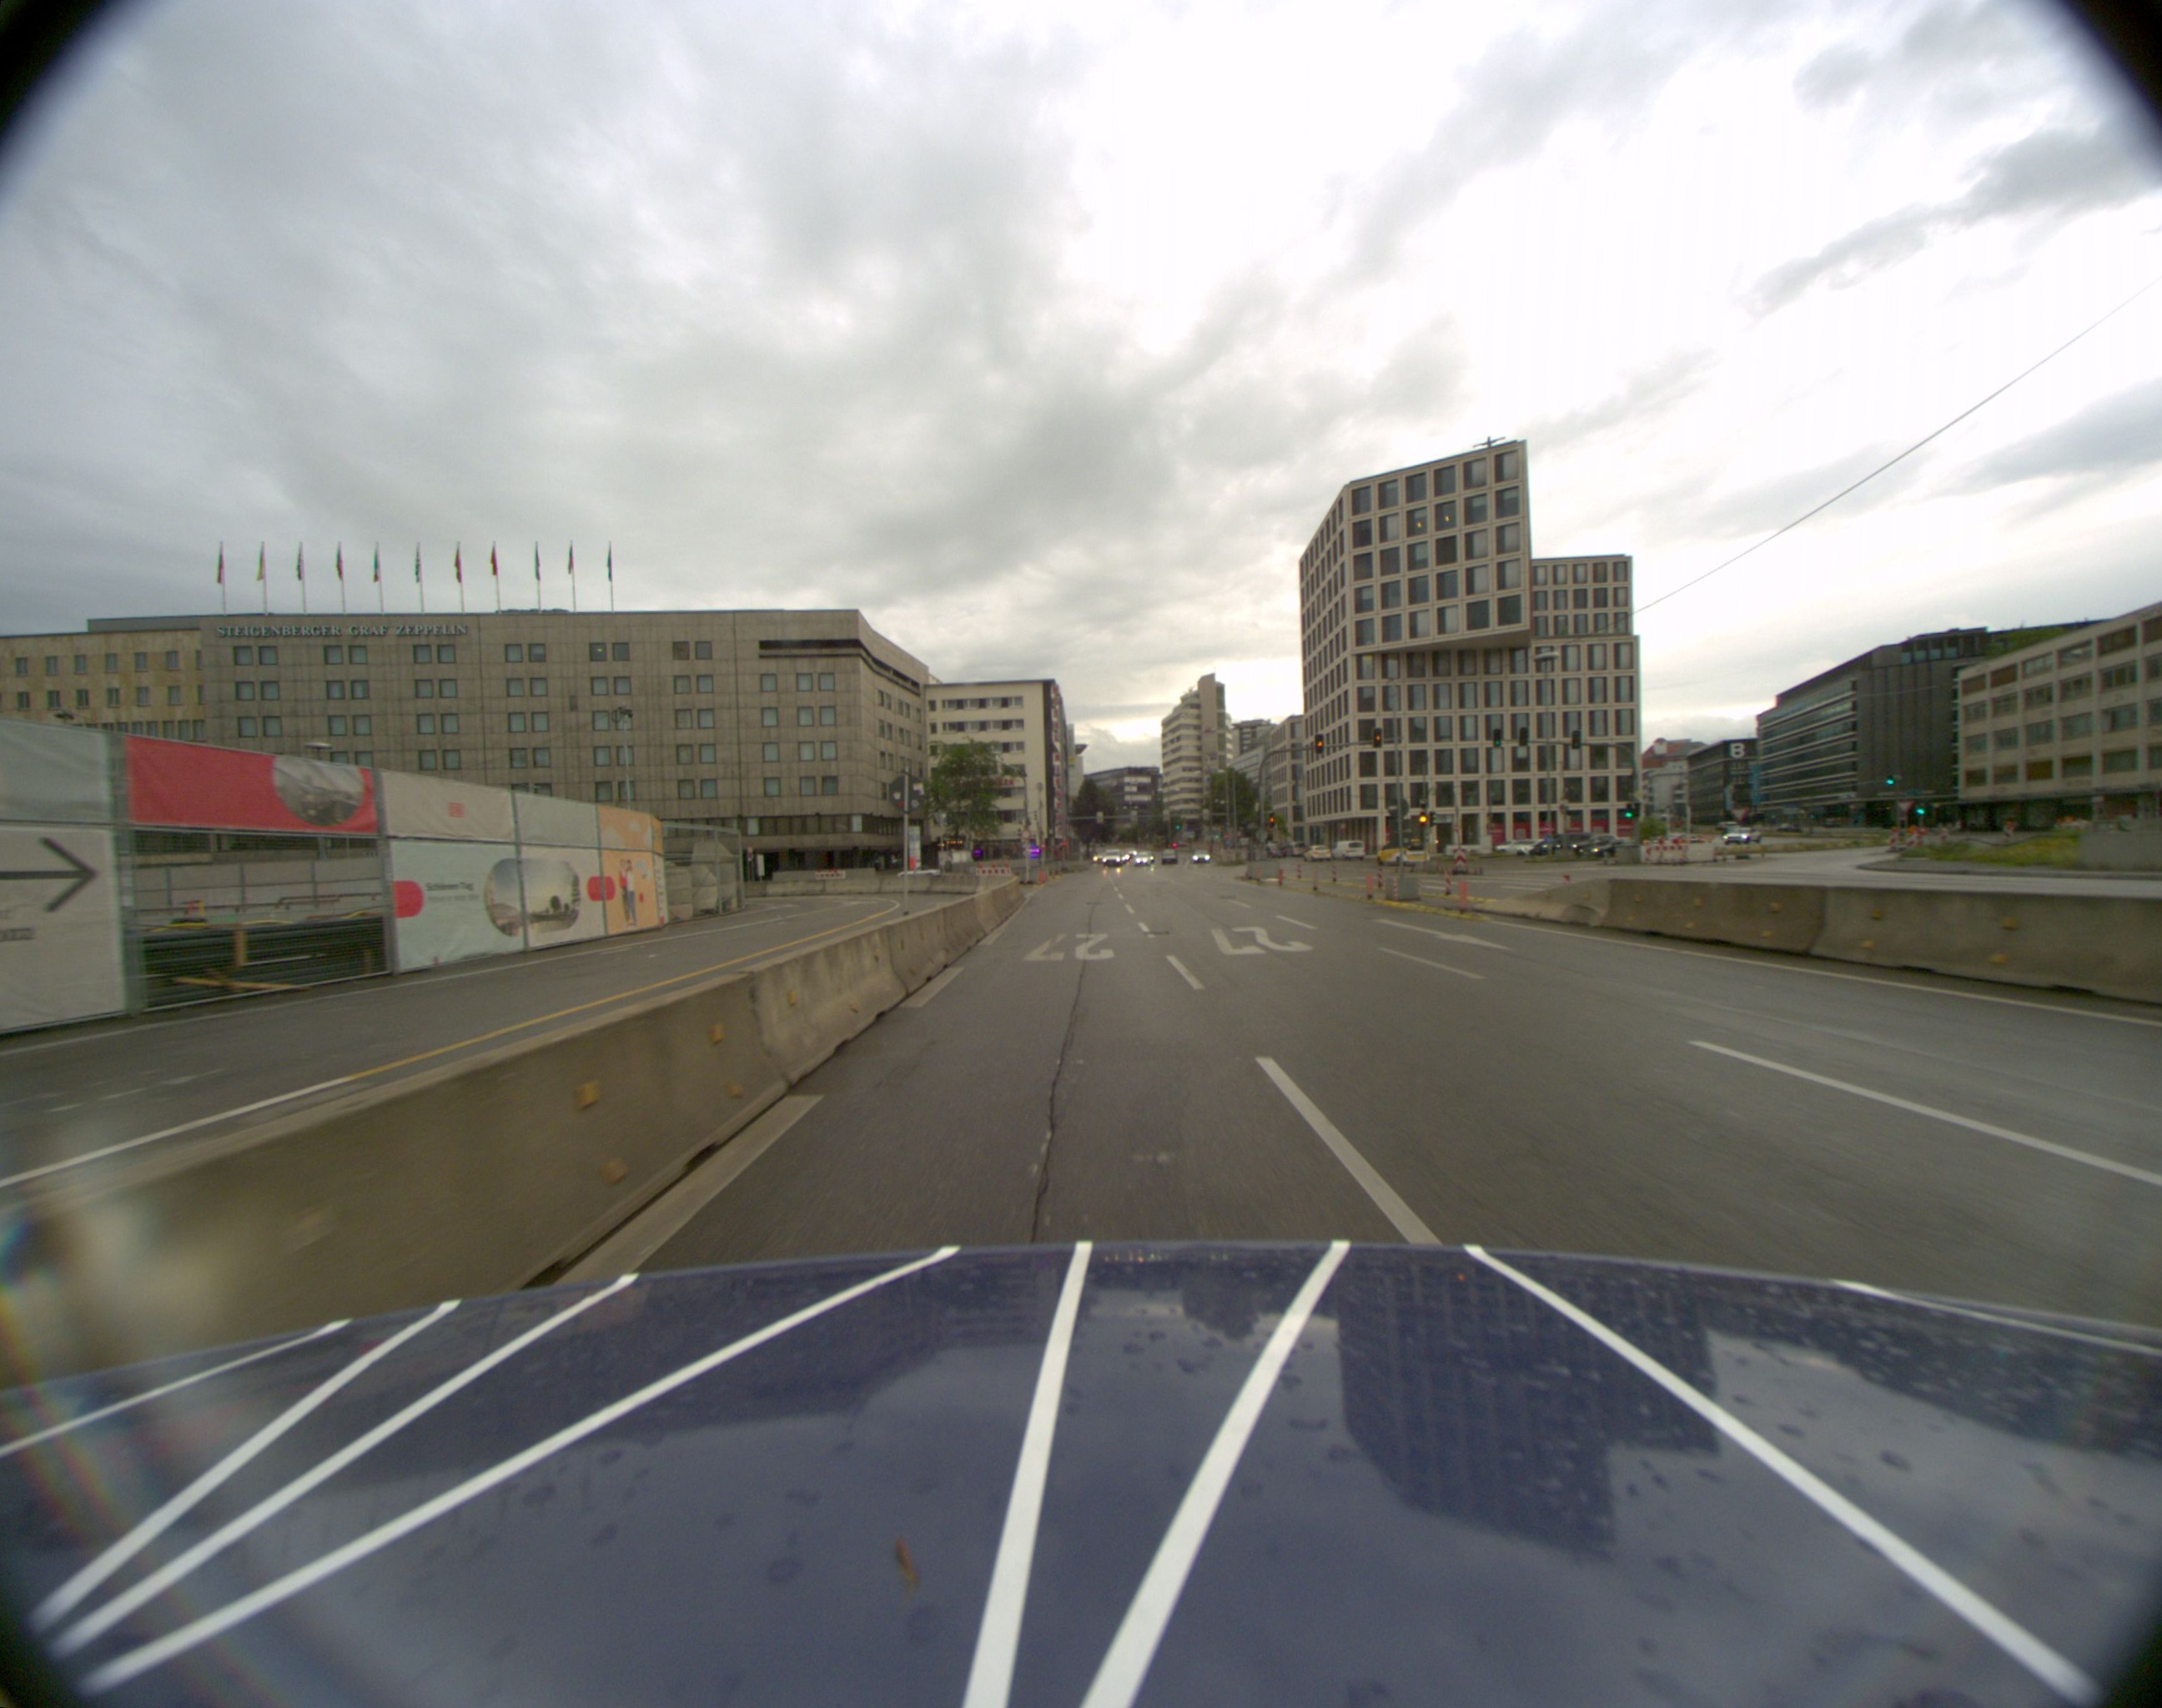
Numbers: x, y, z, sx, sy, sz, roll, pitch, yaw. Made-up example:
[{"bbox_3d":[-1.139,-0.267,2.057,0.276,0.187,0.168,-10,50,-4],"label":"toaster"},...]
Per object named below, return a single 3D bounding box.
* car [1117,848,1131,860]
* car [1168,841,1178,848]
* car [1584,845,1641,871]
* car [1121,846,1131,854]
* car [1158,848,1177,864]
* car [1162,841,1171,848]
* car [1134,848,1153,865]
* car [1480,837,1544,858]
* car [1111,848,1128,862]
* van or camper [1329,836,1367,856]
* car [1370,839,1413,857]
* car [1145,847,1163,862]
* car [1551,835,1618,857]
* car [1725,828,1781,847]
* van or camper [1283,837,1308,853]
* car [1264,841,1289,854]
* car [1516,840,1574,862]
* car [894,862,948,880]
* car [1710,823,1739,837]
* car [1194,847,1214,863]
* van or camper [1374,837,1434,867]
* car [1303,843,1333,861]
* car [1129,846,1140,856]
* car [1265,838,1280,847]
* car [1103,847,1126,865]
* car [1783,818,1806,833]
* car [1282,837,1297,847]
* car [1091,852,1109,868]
[{"bbox_3d":[5.760,-0.007,101.171,1.671,1.475,3.486,-3,0,4],"label":"car"},{"bbox_3d":[22.859,-2.410,188.888,1.850,1.589,4.180,-3,1,-1],"label":"car"},{"bbox_3d":[38.402,0.269,54.874,4.005,1.687,1.692,-2,1,-29],"label":"car"},{"bbox_3d":[8.346,-0.744,141.494,1.671,1.475,3.486,-3,0,4],"label":"car"},{"bbox_3d":[9.752,0.190,85.819,2.016,1.589,4.664,-3,1,5],"label":"car"},{"bbox_3d":[22.106,-2.488,197.240,1.850,1.589,4.180,-3,1,-1],"label":"car"},{"bbox_3d":[7.039,0.223,85.068,2.016,1.728,4.664,-3,1,5],"label":"car"},{"bbox_3d":[40.786,-0.594,71.980,4.809,1.743,2.229,-2,1,0],"label":"car"},{"bbox_3d":[4.742,0.132,94.356,2.016,1.589,4.663,-3,1,3],"label":"car"},{"bbox_3d":[26.907,-0.784,76.677,1.886,1.883,5.211,-3,1,-1],"label":"van or camper"},{"bbox_3d":[32.582,-0.616,79.670,3.990,1.718,1.741,-2,1,26],"label":"car"},{"bbox_3d":[8.782,0.025,91.310,2.016,1.589,4.664,-3,1,5],"label":"car"},{"bbox_3d":[38.606,-0.602,58.286,3.999,1.477,1.835,-3,1,-8],"label":"car"},{"bbox_3d":[65.381,-1.586,73.987,4.131,1.706,1.856,-2,0,-9],"label":"car"},{"bbox_3d":[27.601,-1.192,97.737,1.850,1.967,4.255,-3,1,-1],"label":"van or camper"},{"bbox_3d":[24.381,-0.823,94.902,1.850,1.589,4.180,-3,1,-1],"label":"car"},{"bbox_3d":[41.628,-0.276,68.190,3.996,1.805,1.806,-3,1,4],"label":"car"},{"bbox_3d":[-14.378,1.504,68.385,4.528,1.302,1.642,-3,1,-5],"label":"car"},{"bbox_3d":[83.038,-3.094,98.130,1.853,1.706,4.138,-2,0,26],"label":"car"},{"bbox_3d":[13.763,0.138,84.880,2.015,1.589,4.666,-3,1,10],"label":"car"},{"bbox_3d":[23.656,-0.177,55.922,2.244,2.042,5.608,-3,1,3],"label":"van or camper"},{"bbox_3d":[23.920,-0.181,76.782,1.846,1.664,4.381,-3,1,4],"label":"car"},{"bbox_3d":[8.218,-0.493,116.721,1.671,1.475,3.486,-3,0,4],"label":"car"},{"bbox_3d":[32.150,-1.944,127.689,1.865,1.514,4.002,-2,1,8],"label":"car"},{"bbox_3d":[3.826,0.190,86.583,2.085,1.893,5.087,-3,1,7],"label":"car"},{"bbox_3d":[106.041,-4.232,112.930,1.994,2.002,4.007,-2,1,36],"label":"car"},{"bbox_3d":[31.844,-1.846,116.157,1.864,1.514,4.002,-2,1,10],"label":"car"},{"bbox_3d":[2.558,0.827,101.201,1.921,2.002,4.002,-2,1,8],"label":"car"}]
